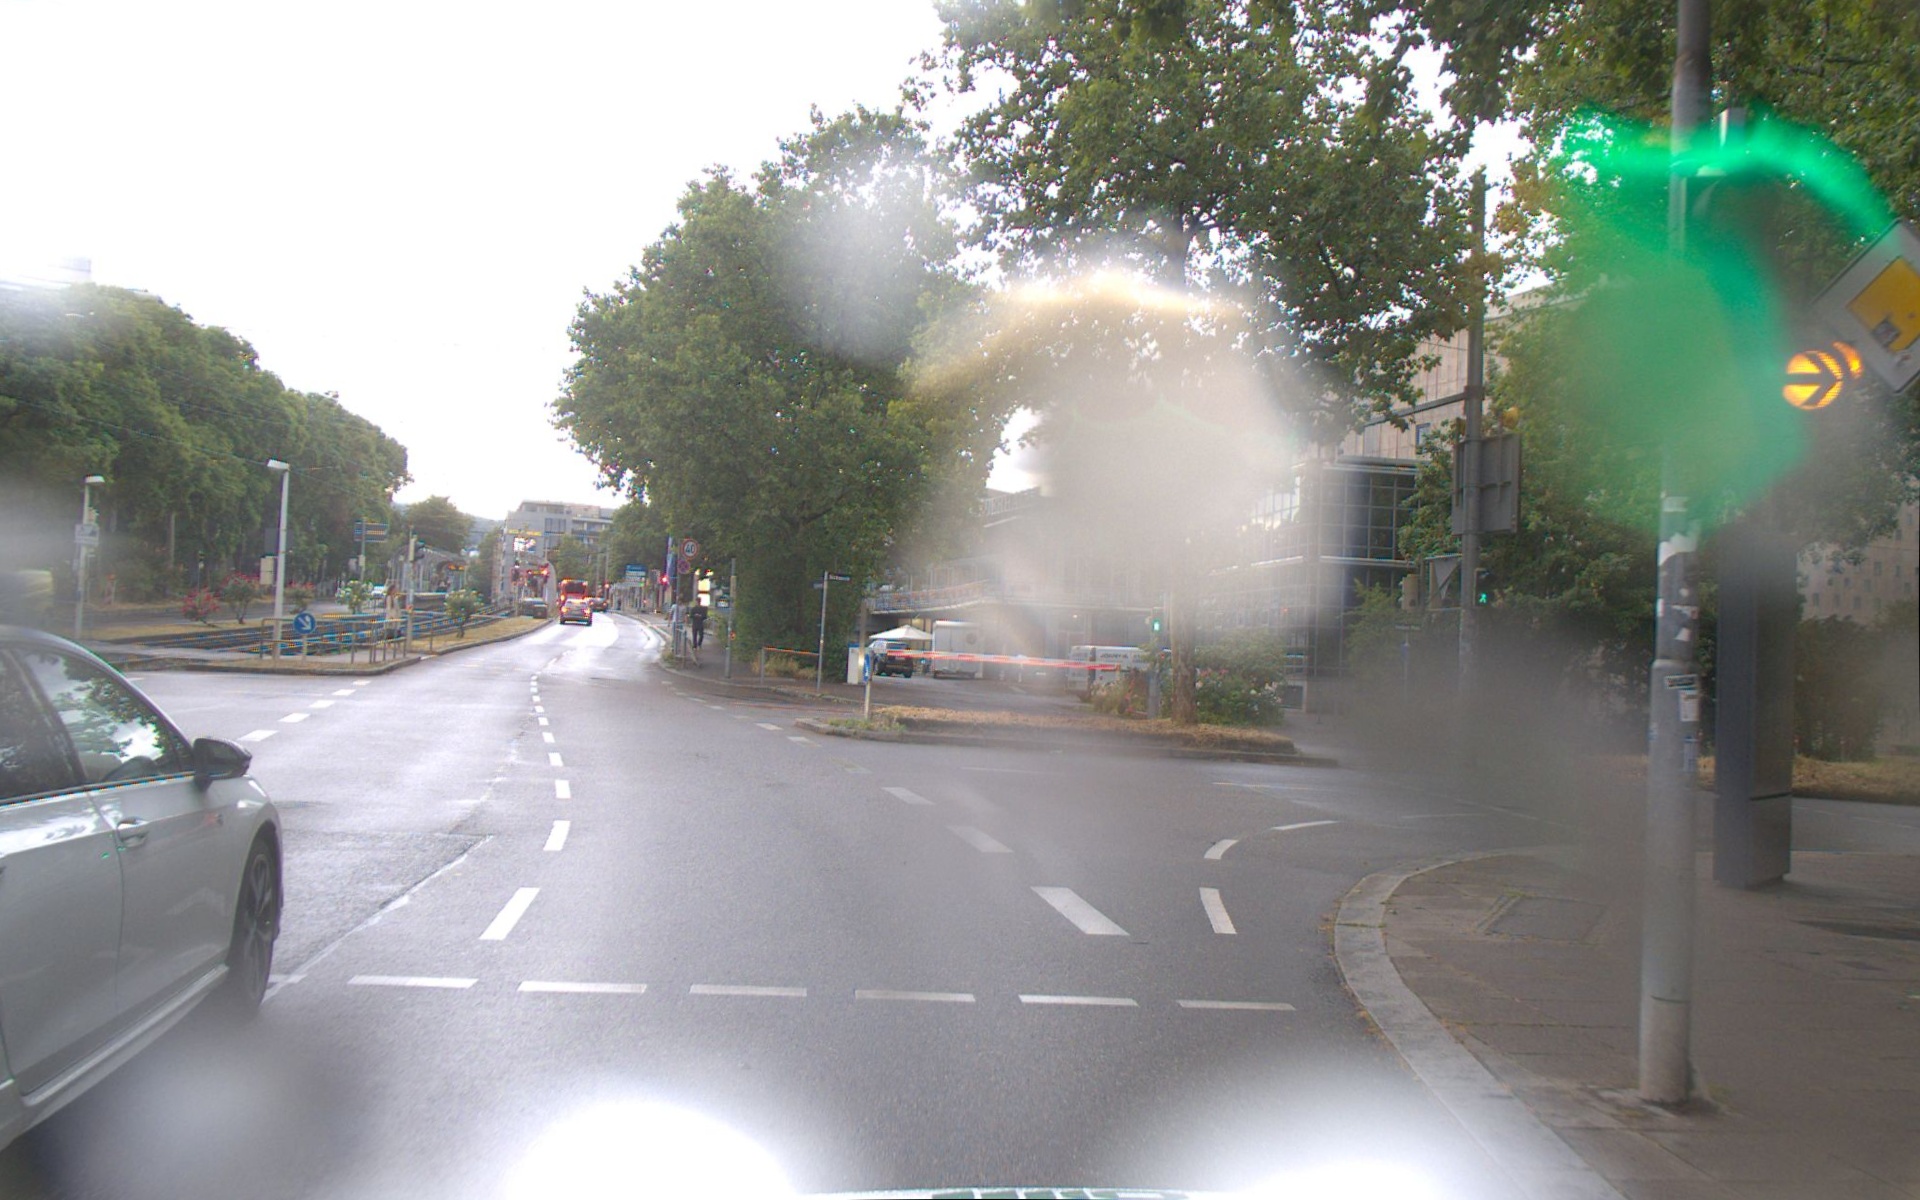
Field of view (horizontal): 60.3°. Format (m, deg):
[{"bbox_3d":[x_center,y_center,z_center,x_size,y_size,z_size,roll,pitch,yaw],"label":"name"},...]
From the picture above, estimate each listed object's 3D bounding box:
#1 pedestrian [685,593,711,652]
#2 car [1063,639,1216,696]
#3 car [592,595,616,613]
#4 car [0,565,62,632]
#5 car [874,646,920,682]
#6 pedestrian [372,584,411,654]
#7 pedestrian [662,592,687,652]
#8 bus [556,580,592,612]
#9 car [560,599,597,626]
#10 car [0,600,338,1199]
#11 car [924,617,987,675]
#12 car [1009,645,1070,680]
[{"bbox_3d":[-9.184,0.791,58.041,0.858,2.049,1.075,1,-1,-8],"label":"pedestrian"},{"bbox_3d":[6.344,2.395,58.412,5.135,1.761,1.859,3,-1,-26],"label":"car"},{"bbox_3d":[-38.090,0.426,176.910,2.322,1.849,5.165,1,-1,-13],"label":"car"},{"bbox_3d":[-28.352,-0.041,48.630,1.884,1.883,4.558,2,-1,-8],"label":"car"},{"bbox_3d":[-3.184,3.220,83.979,1.978,1.578,4.350,3,-1,1],"label":"car"},{"bbox_3d":[-15.143,0.501,44.074,0.856,1.834,0.864,3,-1,-18],"label":"pedestrian"},{"bbox_3d":[-9.956,0.765,57.734,0.799,2.049,1.075,1,-1,-8],"label":"pedestrian"},{"bbox_3d":[-40.116,-0.338,171.909,3.528,3.227,10.384,1,-1,-13],"label":"bus"},{"bbox_3d":[-22.111,0.735,95.992,1.958,1.545,4.337,1,-1,-12],"label":"car"},{"bbox_3d":[-3.104,0.744,4.402,1.762,1.468,4.466,1,-1,-8],"label":"car"},{"bbox_3d":[-0.296,2.372,87.499,2.678,2.742,6.915,3,-1,-5],"label":"car"},{"bbox_3d":[4.083,3.208,85.280,1.985,1.578,4.336,3,-1,-13],"label":"car"}]
